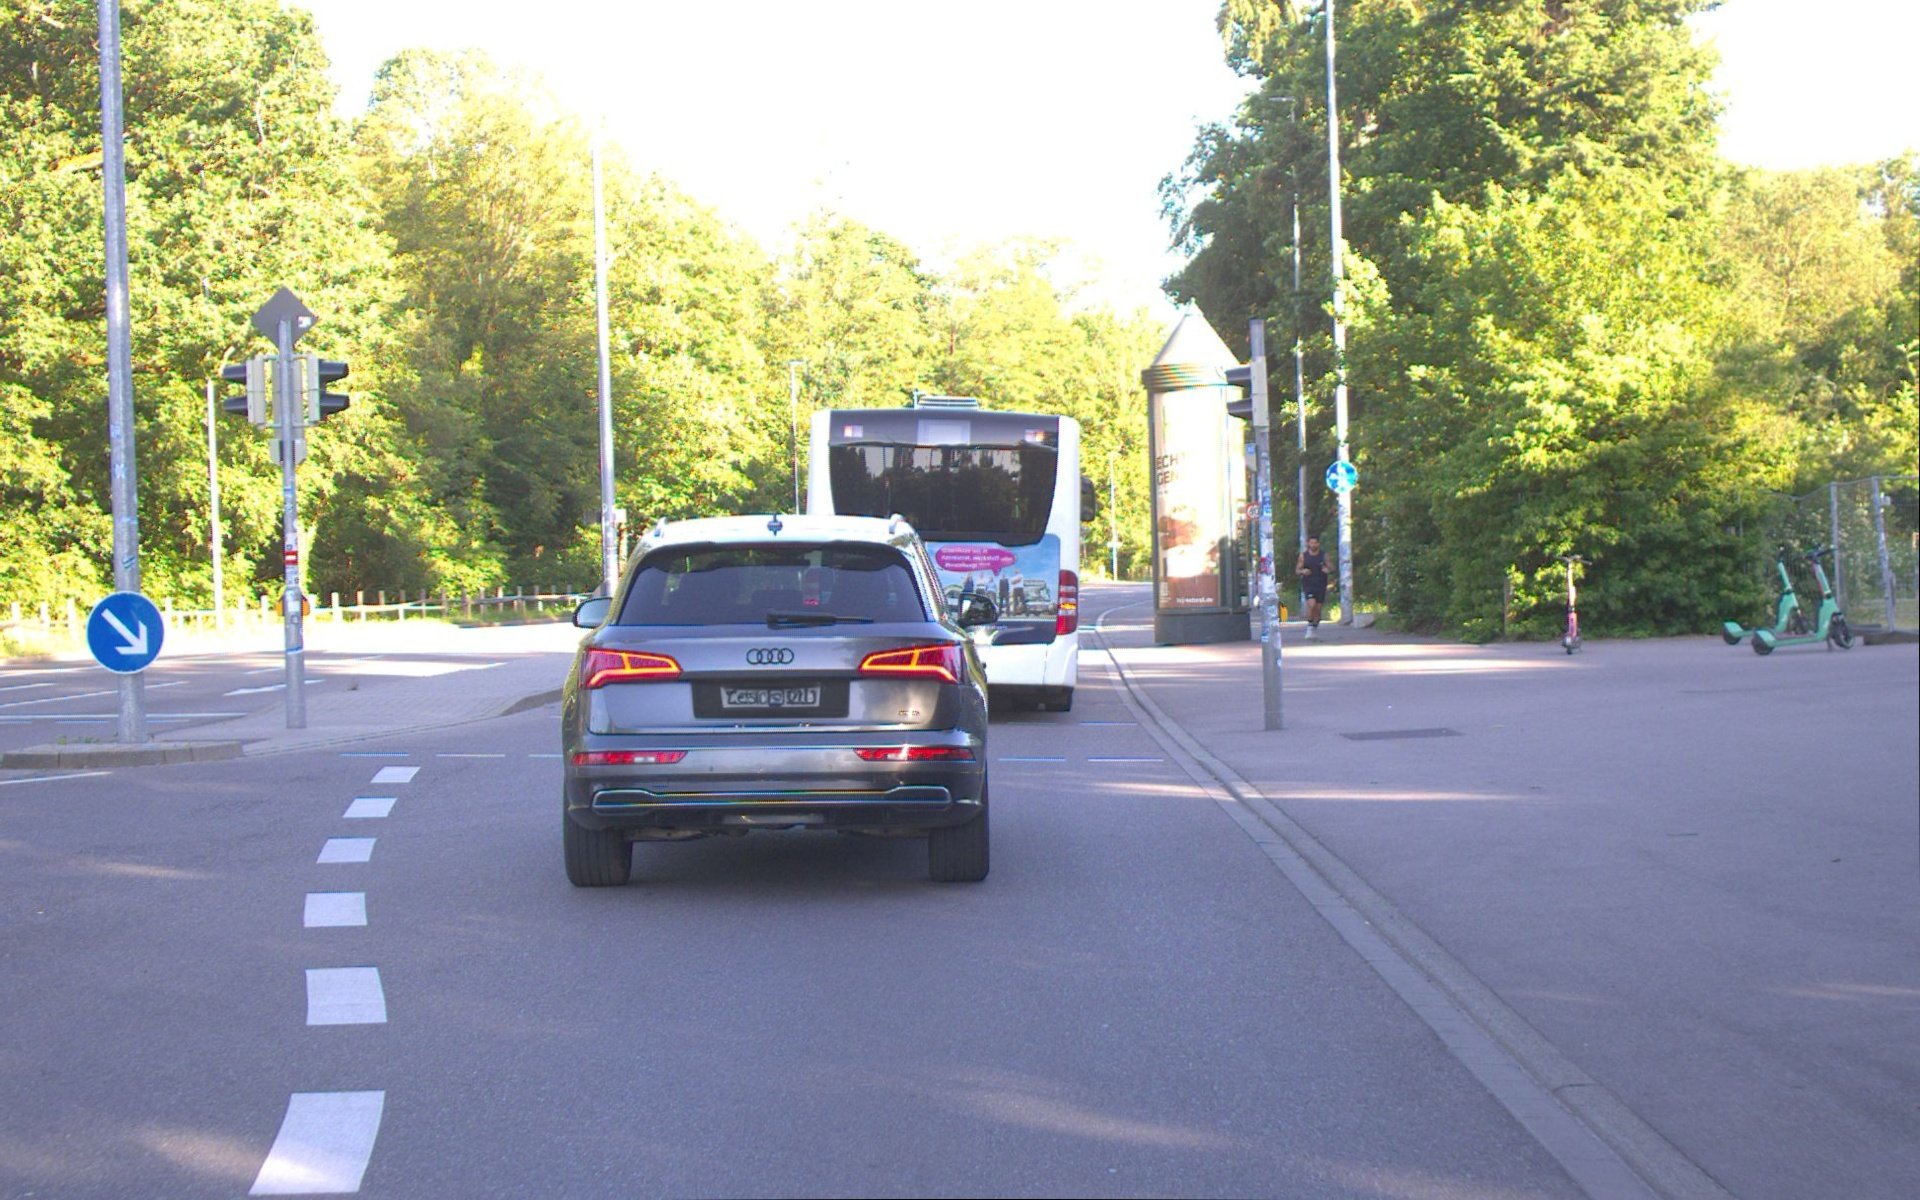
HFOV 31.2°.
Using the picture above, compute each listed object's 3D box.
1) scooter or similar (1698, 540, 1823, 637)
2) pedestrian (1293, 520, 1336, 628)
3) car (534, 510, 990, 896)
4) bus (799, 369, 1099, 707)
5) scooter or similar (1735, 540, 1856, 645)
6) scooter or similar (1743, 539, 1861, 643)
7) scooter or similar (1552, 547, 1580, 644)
[{"bbox_3d":[10.074,-0.144,43.262,1.441,1.163,0.393,-2,-1,30],"label":"scooter or similar"},{"bbox_3d":[5.623,-0.414,54.495,0.626,1.682,0.882,0,0,10],"label":"pedestrian"},{"bbox_3d":[-0.839,0.397,16.576,1.893,1.600,4.545,0,1,0],"label":"car"},{"bbox_3d":[-0.132,-0.617,36.904,2.689,3.032,12.041,0,1,0],"label":"bus"},{"bbox_3d":[9.640,-0.087,39.670,1.266,1.143,0.394,-3,-1,8],"label":"scooter or similar"},{"bbox_3d":[9.864,-0.102,40.287,1.246,1.163,0.393,-2,-1,25],"label":"scooter or similar"},{"bbox_3d":[7.588,-0.070,43.065,0.281,1.167,1.408,-2,1,9],"label":"scooter or similar"}]
